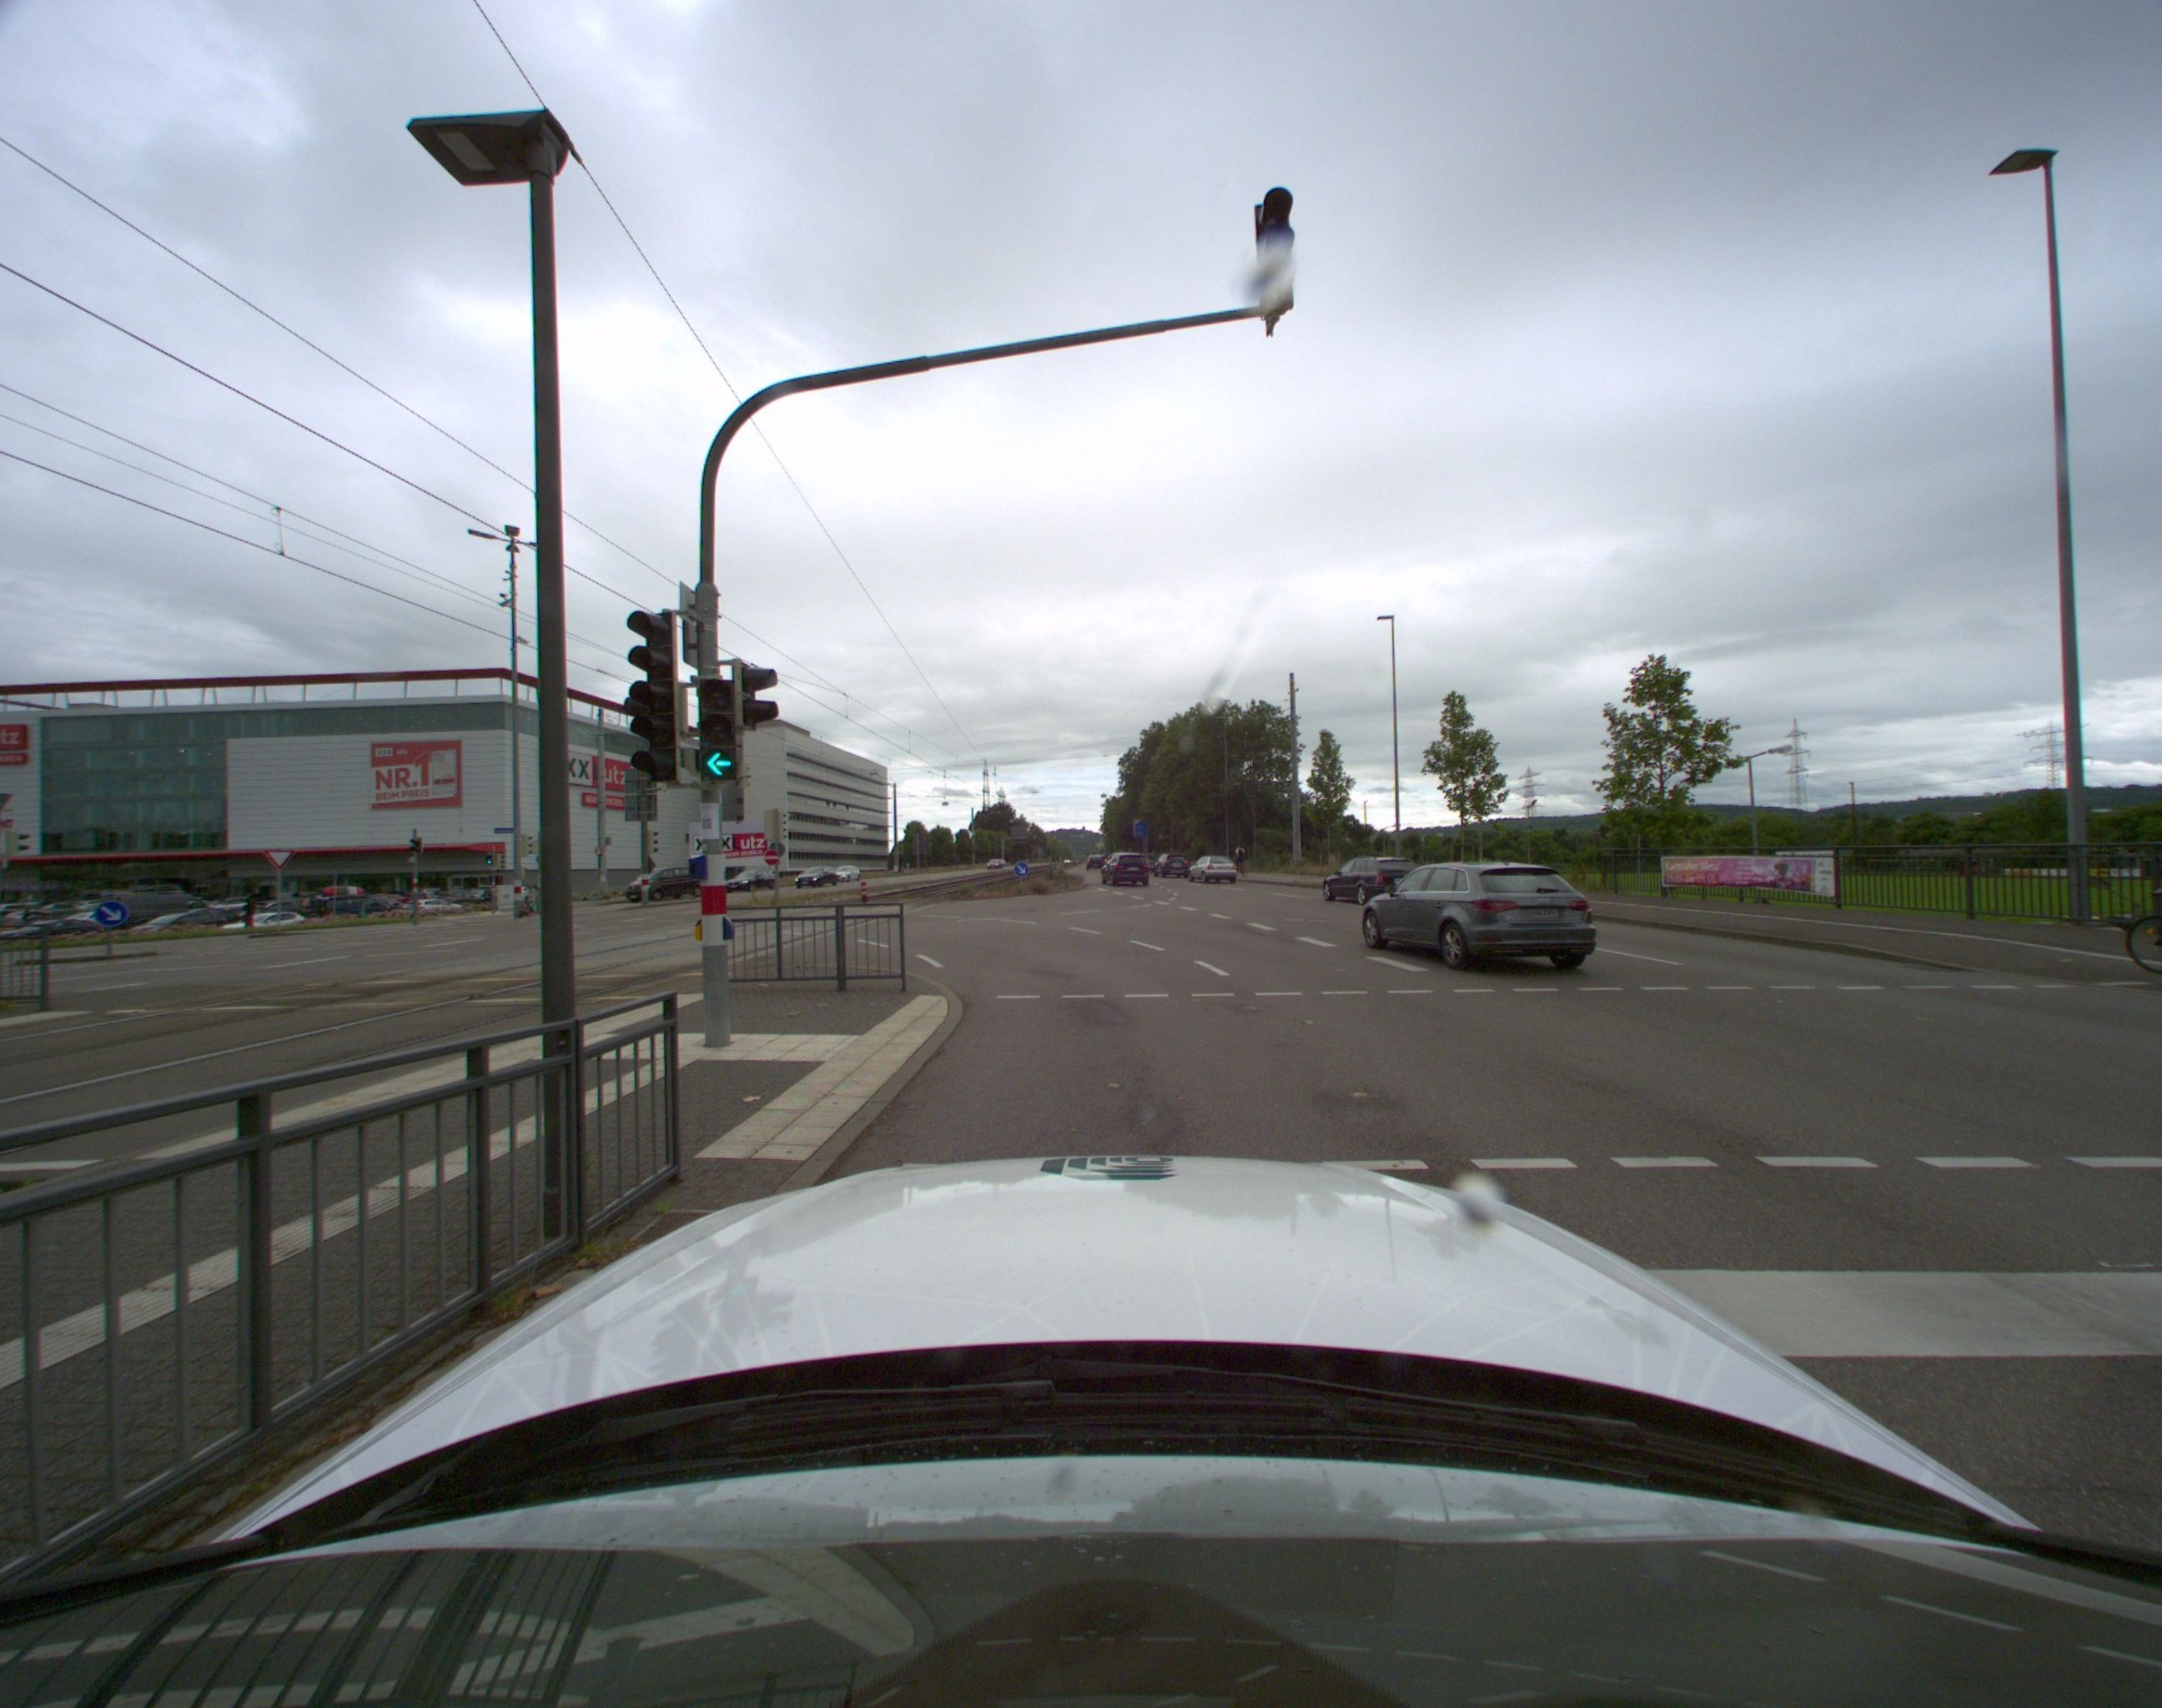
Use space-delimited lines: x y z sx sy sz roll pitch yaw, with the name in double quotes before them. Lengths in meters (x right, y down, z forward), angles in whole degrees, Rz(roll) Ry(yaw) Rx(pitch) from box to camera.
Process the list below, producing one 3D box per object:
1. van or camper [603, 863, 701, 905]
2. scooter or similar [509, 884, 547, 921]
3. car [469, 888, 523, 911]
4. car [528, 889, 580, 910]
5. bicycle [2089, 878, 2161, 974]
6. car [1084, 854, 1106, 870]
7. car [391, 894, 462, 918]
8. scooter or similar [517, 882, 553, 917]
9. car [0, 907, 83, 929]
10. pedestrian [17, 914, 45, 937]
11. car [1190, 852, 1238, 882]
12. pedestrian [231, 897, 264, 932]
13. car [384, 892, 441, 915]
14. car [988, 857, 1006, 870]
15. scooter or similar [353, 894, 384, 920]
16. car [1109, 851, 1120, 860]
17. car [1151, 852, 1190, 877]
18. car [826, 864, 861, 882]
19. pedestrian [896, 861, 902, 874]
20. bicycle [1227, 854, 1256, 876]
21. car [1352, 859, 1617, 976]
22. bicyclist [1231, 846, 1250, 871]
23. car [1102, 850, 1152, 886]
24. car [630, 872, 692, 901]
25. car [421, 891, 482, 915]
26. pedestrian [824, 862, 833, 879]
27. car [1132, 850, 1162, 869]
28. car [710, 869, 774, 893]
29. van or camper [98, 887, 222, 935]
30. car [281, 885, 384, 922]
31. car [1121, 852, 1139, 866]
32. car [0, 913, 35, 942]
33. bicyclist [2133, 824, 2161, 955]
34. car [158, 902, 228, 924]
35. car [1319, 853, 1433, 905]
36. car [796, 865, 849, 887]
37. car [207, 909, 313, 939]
"van or camper" -24.998 1.707 47.665 2.099 2.013 4.777 -5 0 19
"scooter or similar" -20.596 1.792 30.351 0.459 1.256 1.023 -5 0 17
"car" -55.993 4.339 78.011 1.934 1.929 4.007 -3 -1 6
"car" -46.572 3.979 72.097 1.873 1.665 4.000 -2 -1 1
"bicycle" 12.449 0.819 8.958 0.545 1.045 1.708 -2 0 -1
"car" 1.331 0.749 78.225 1.743 1.431 3.370 0 0 -5
"car" -49.734 3.917 61.989 1.731 1.476 4.217 -3 -1 6
"scooter or similar" -21.037 1.756 31.379 0.317 1.256 1.120 -4 0 17
"car" -81.370 4.964 63.481 1.725 1.469 4.259 0 -1 6
"pedestrian" -79.117 5.386 61.362 0.879 1.720 0.943 0 -1 2
"car" 7.019 0.652 43.336 1.725 1.509 3.627 0 0 -4
"pedestrian" -40.650 2.962 39.720 0.711 1.597 0.784 -5 -1 3
"car" -63.839 4.716 77.865 1.805 1.818 4.007 -3 0 6
"car" -12.015 1.311 117.077 1.985 1.728 4.003 -2 0 3
"scooter or similar" -36.611 2.718 41.855 1.170 1.233 0.342 -2 -3 -35
"car" 6.002 0.250 145.264 1.809 1.481 3.670 0 -1 0
"car" 5.873 0.680 54.029 1.853 1.562 4.311 1 -1 -4
"car" -21.369 1.655 73.480 1.720 1.539 4.050 0 0 3
"pedestrian" -23.184 1.745 103.792 0.538 1.654 0.619 -2 -2 44
"bicycle" 9.584 0.656 48.717 0.816 1.185 2.515 -3 1 -9
"car" 5.643 0.784 12.044 1.734 1.401 4.072 -1 0 -3
"bicyclist" 9.533 0.259 48.664 0.816 1.478 0.997 -3 1 -9
"car" 2.196 0.658 40.079 1.829 1.636 4.309 -1 0 -5
"car" -45.807 3.530 89.086 2.747 2.990 6.959 0 -1 5
"car" -56.246 4.342 72.828 1.849 1.780 4.231 -2 0 6
"pedestrian" -26.869 1.792 86.623 0.634 1.791 0.702 -2 -2 44
"car" 5.700 0.519 70.690 1.854 1.562 4.308 1 -1 -6
"car" -23.169 1.806 55.807 1.950 1.464 4.335 -1 0 11
"van or camper" -64.592 3.916 57.281 1.971 2.984 5.416 -3 -1 12
"car" -52.494 3.418 57.251 2.103 2.165 5.064 -3 -1 9
"car" 5.339 0.515 89.322 1.809 1.481 3.670 0 -1 0
"car" -65.338 4.455 48.090 1.799 1.643 4.009 -3 -1 8
"bicyclist" 12.407 0.387 8.837 0.688 1.453 0.967 -2 0 -1
"car" -80.543 5.336 73.935 1.821 1.655 4.002 -3 -1 2
"car" 8.961 0.709 25.148 1.731 1.479 4.313 0 0 -4
"car" -18.100 1.506 57.274 1.820 1.464 4.218 -1 0 9
"car" -47.609 4.043 47.344 1.862 1.446 4.122 0 -1 3
